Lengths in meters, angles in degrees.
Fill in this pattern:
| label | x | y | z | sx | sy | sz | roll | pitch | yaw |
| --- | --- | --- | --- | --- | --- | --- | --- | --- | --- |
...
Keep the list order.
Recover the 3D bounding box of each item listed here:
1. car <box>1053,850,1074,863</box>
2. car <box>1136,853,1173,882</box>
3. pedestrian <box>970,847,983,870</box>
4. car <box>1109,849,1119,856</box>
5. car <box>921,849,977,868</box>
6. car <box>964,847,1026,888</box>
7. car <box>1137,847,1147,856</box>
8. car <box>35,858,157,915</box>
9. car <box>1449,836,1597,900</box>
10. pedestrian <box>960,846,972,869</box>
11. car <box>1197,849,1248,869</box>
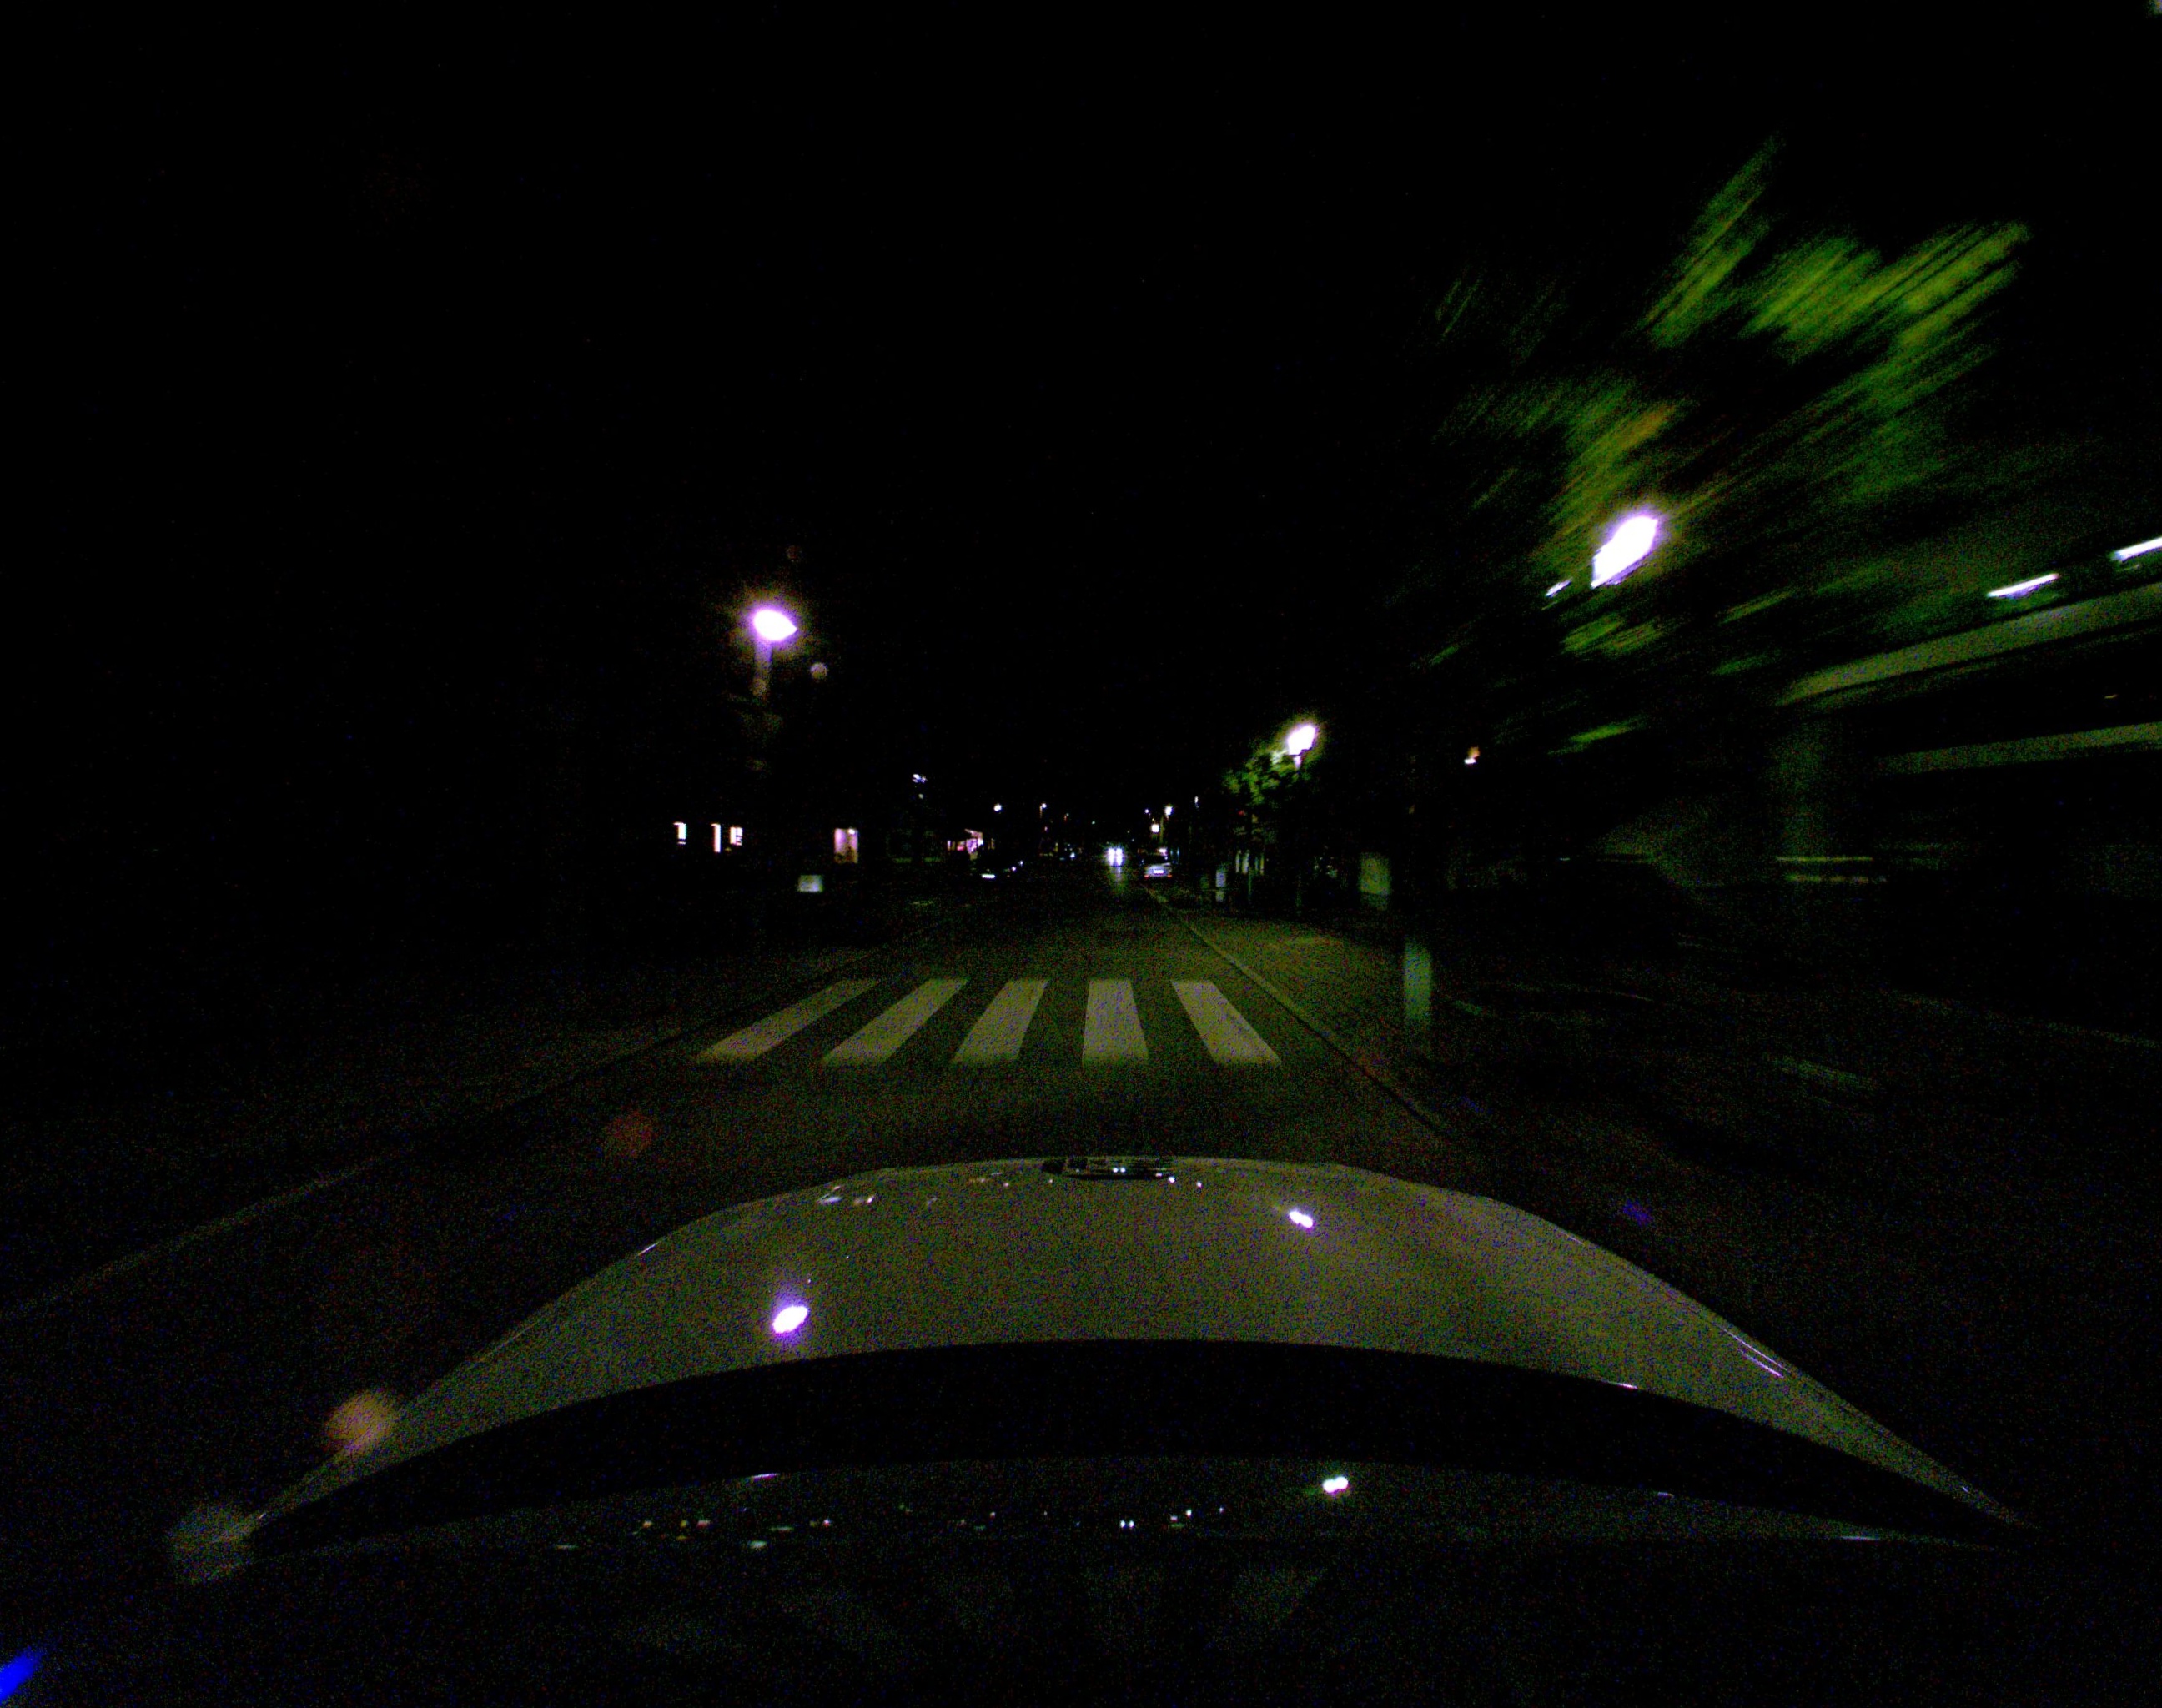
| label | x | y | z | sx | sy | sz | roll | pitch | yaw |
| --- | --- | --- | --- | --- | --- | --- | --- | --- | --- |
| car | -1.924 | 0.266 | 91.497 | 1.906 | 1.370 | 4.462 | 0 | 1 | 4 |
| car | 3.836 | 0.700 | 42.938 | 1.669 | 1.459 | 3.675 | 0 | 0 | 0 |
| pedestrian | -7.657 | 0.296 | 59.608 | 0.766 | 1.656 | 0.782 | 0 | 2 | 3 |
| car | 5.954 | -0.279 | 148.688 | 1.716 | 1.247 | 4.241 | 0 | 0 | 3 |
| car | -10.965 | 0.365 | 67.840 | 4.147 | 1.438 | 1.844 | -3 | 0 | 5 |
| car | -3.859 | 0.587 | 37.449 | 2.010 | 1.691 | 5.006 | 2 | 0 | 3 |
| car | 10.850 | -0.434 | 144.668 | 1.768 | 1.652 | 4.368 | 0 | 1 | 4 |
| car | -28.144 | 0.864 | 23.402 | 3.950 | 1.441 | 1.932 | 0 | 1 | 44 |
| car | 11.896 | 0.388 | 22.271 | 1.798 | 1.460 | 4.056 | -4 | -1 | 0 |
| pedestrian | -8.454 | 0.283 | 59.839 | 0.766 | 1.656 | 0.818 | 0 | 2 | 3 |
| car | 11.878 | 0.428 | 68.449 | 3.975 | 1.476 | 1.751 | -3 | -1 | -1 |
